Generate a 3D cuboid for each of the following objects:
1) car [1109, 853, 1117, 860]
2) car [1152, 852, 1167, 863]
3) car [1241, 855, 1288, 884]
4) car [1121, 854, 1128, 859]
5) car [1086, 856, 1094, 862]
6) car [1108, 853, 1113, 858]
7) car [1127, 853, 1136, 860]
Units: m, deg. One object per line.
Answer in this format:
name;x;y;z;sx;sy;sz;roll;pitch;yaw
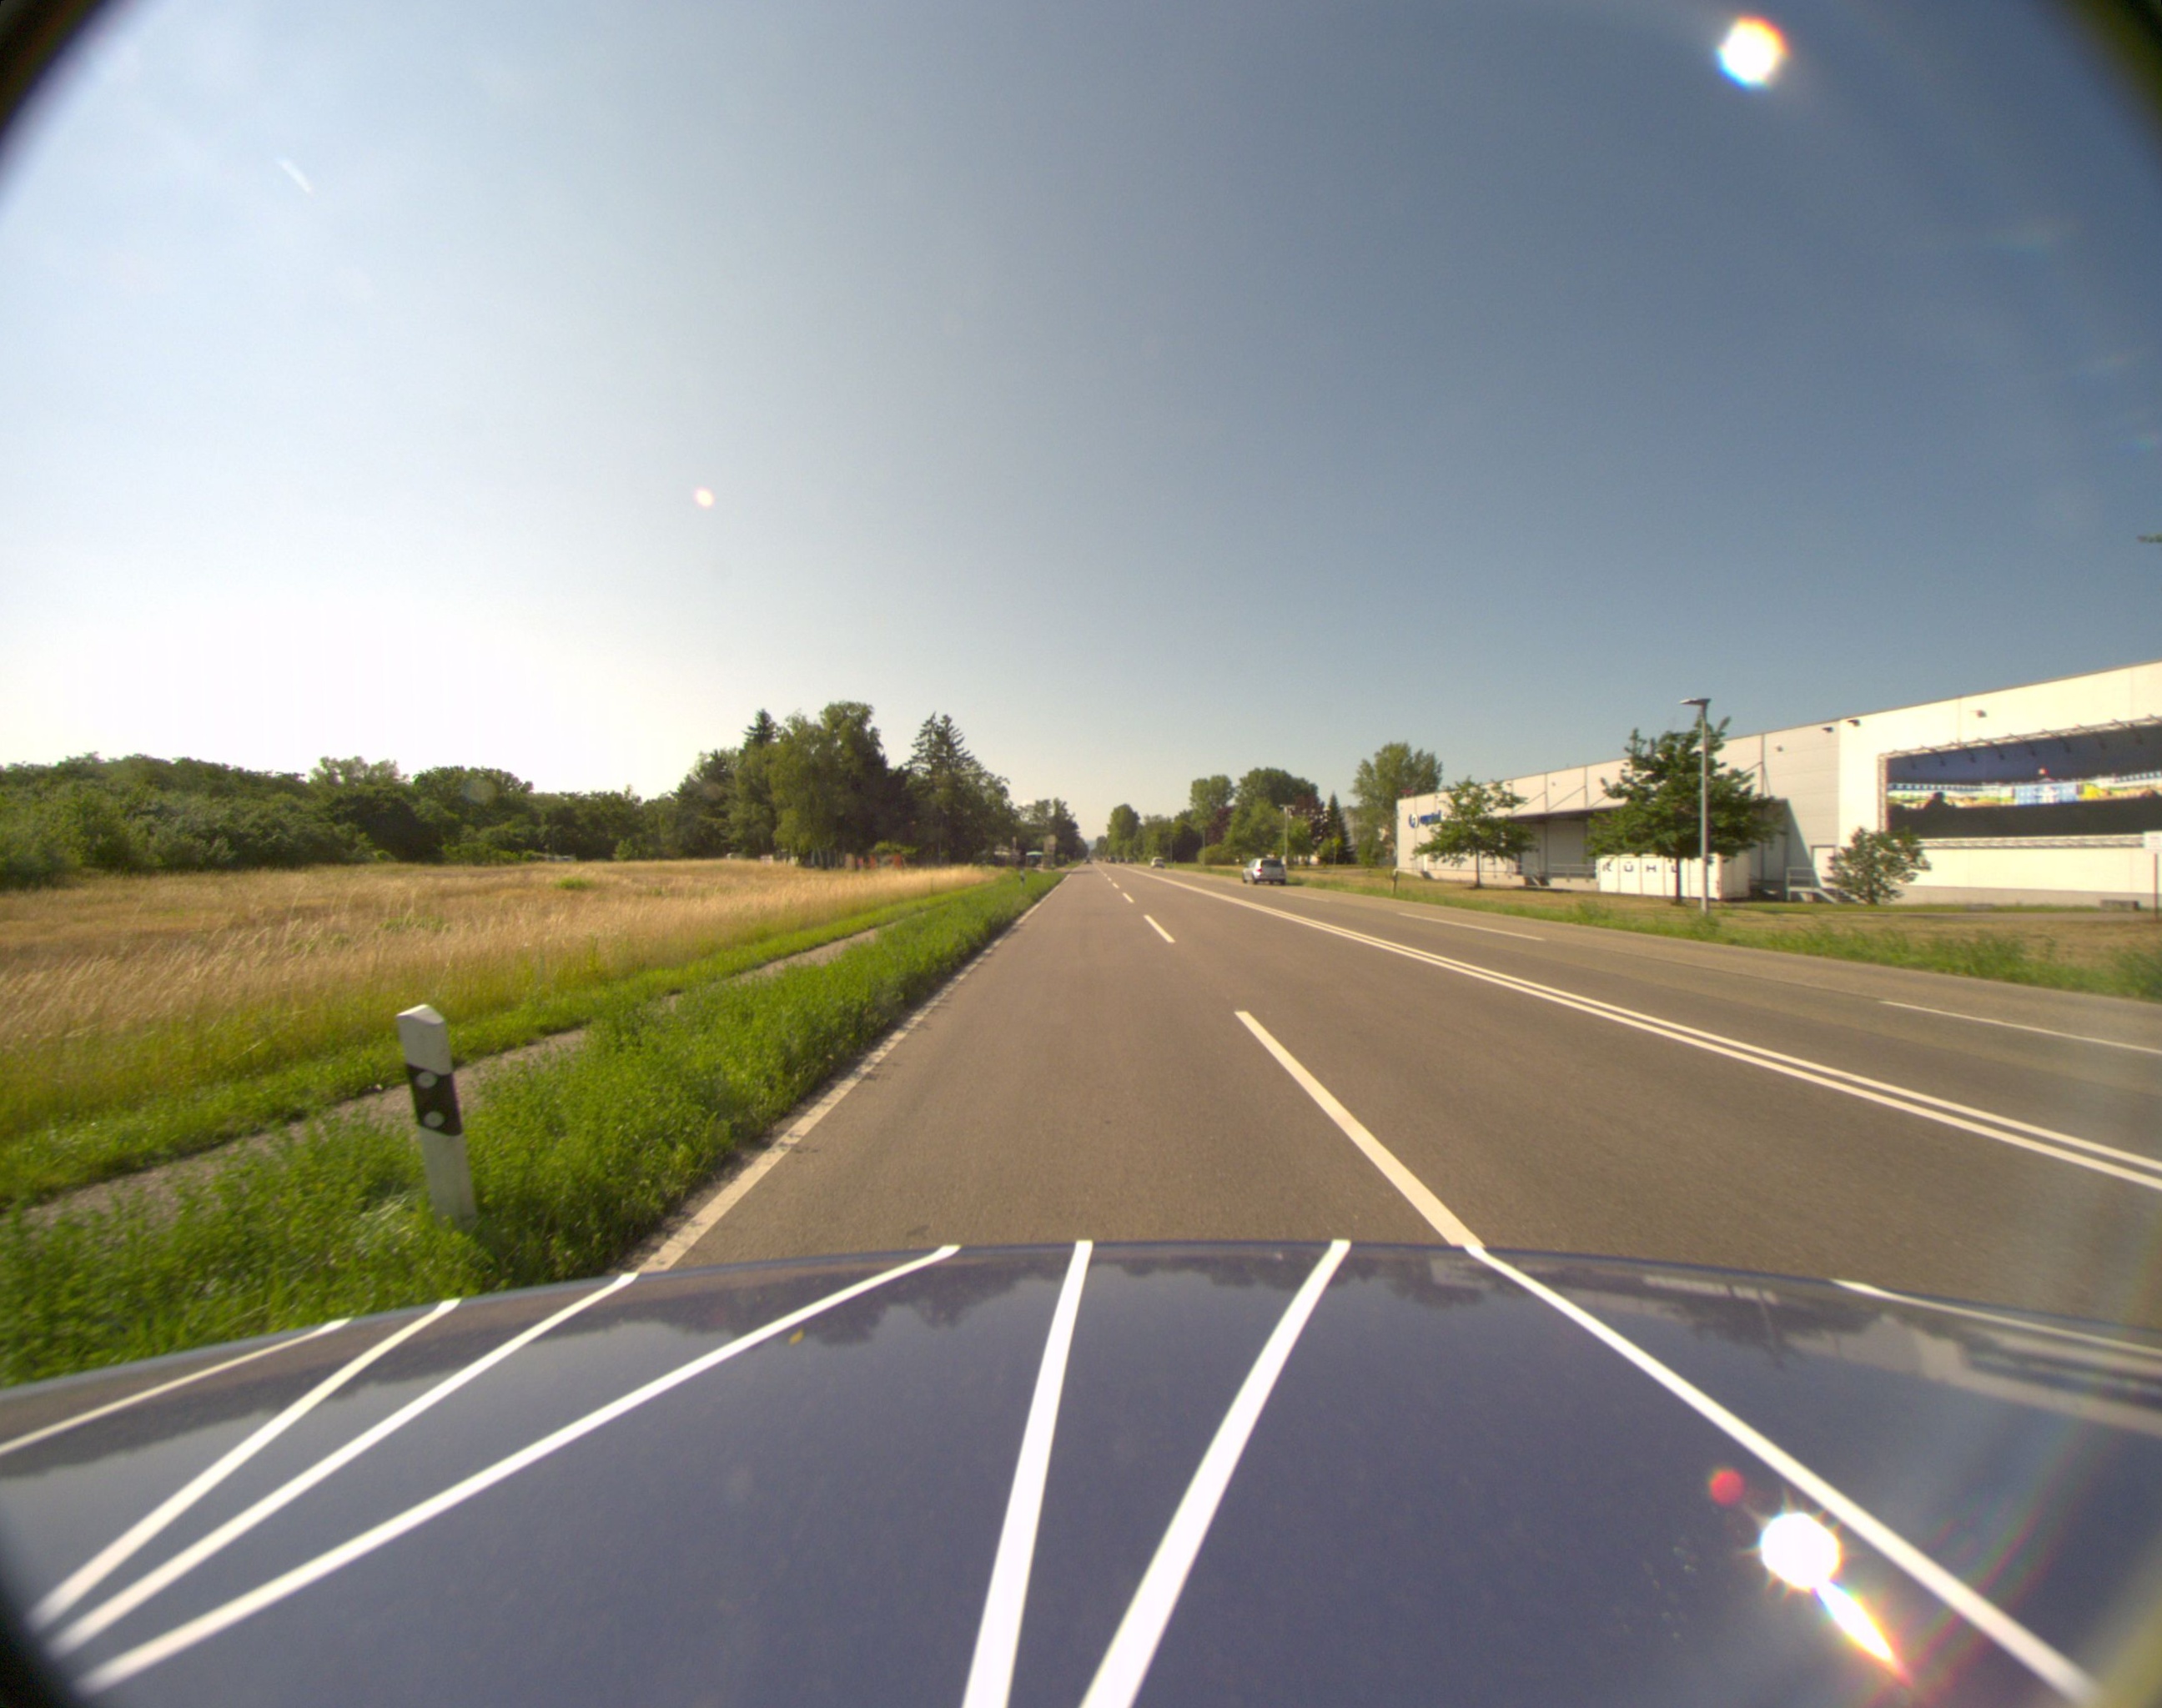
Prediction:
car;7.778;0.660;183.071;1.776;1.704;4.569;2;0;1
car;10.738;0.519;104.100;1.663;1.429;3.735;2;0;0
car;10.044;0.832;41.843;1.602;1.434;4.000;2;0;0
car;12.097;0.628;209.838;1.656;1.472;4.740;1;0;0
car;2.058;1.204;179.047;1.768;1.403;4.001;0;-1;1
car;9.436;0.536;244.209;1.654;1.489;3.844;2;0;0
car;11.282;0.575;171.066;1.733;1.552;4.215;2;0;0
